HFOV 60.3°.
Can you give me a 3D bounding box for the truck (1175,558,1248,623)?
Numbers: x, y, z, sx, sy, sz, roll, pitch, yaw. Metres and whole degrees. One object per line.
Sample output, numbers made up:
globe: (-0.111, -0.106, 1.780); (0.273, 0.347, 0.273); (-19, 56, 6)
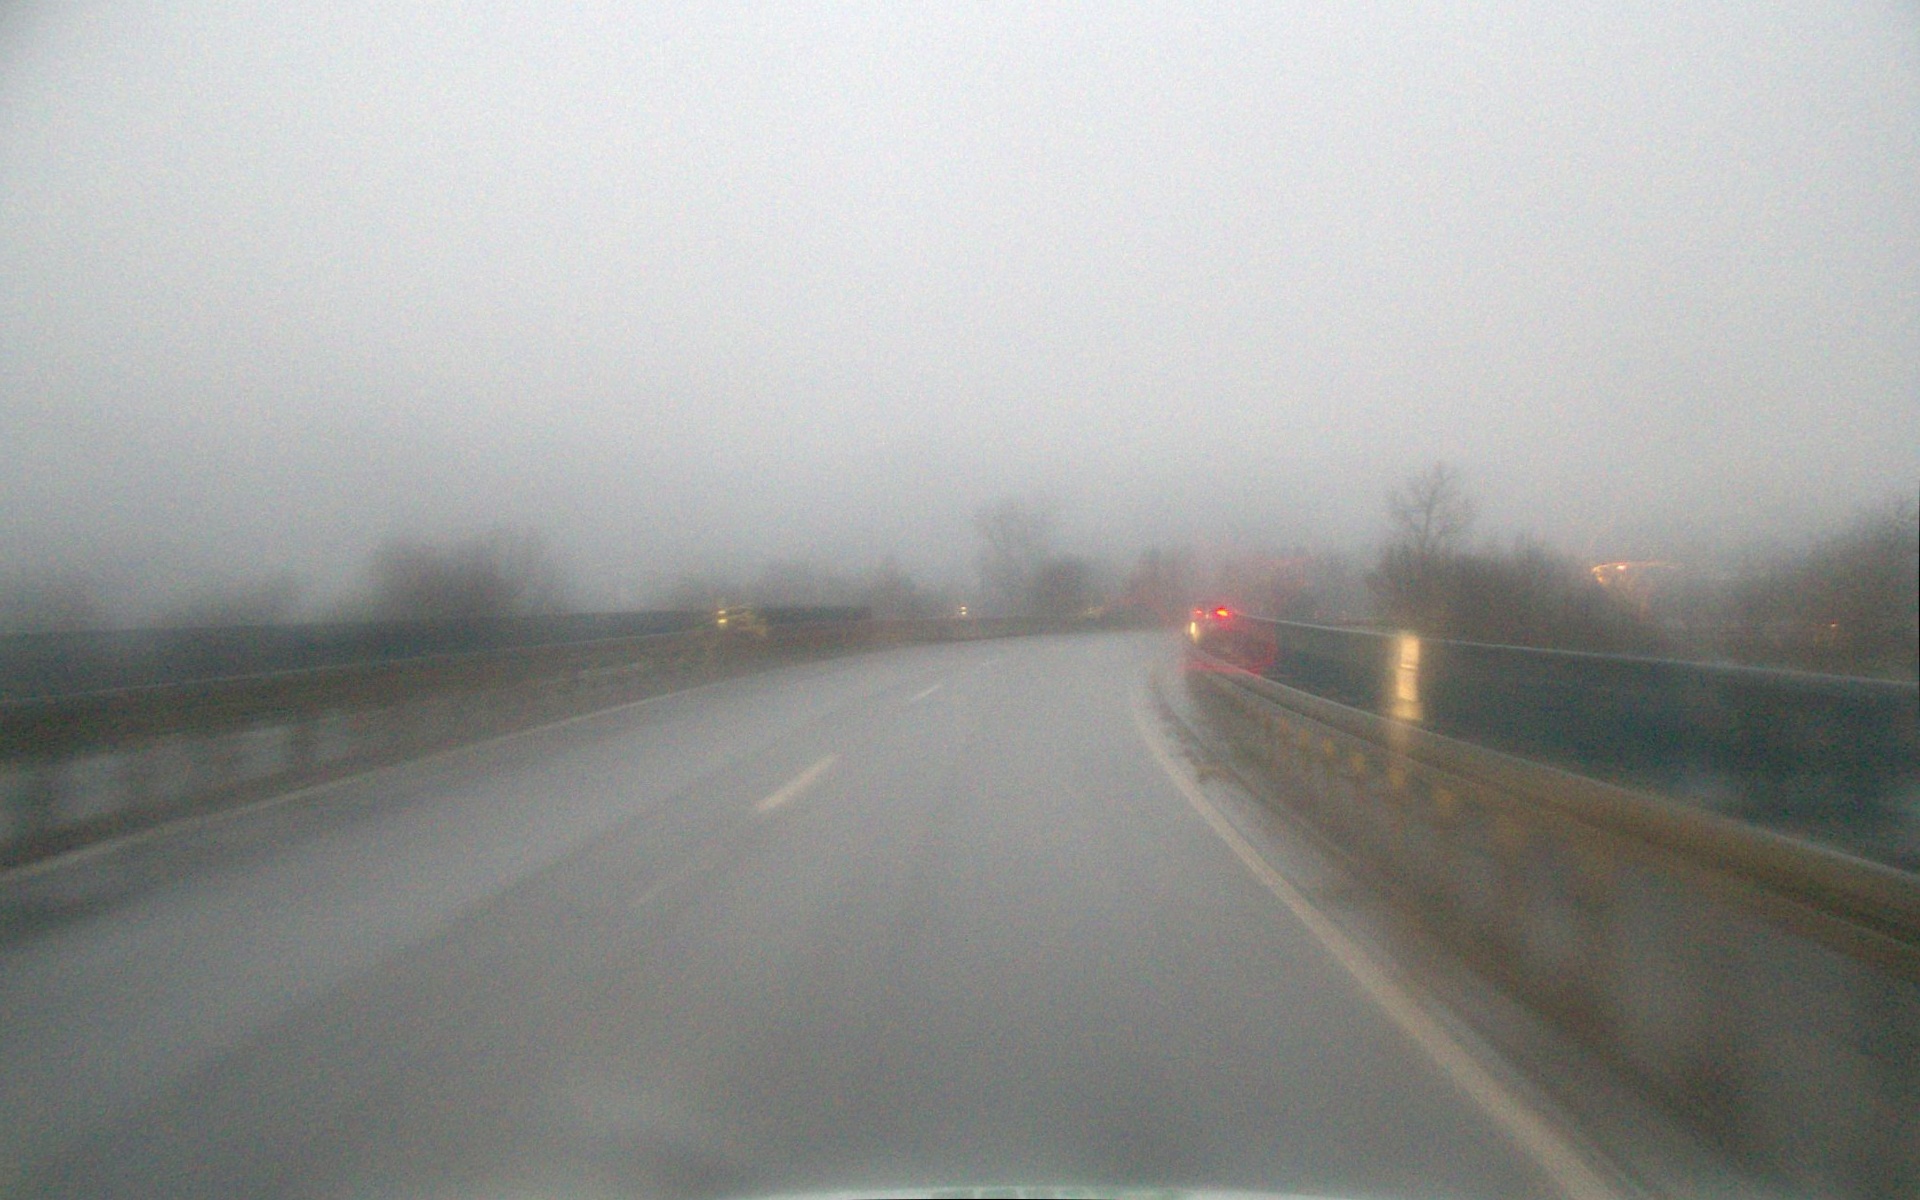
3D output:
truck: (11.961, -0.453, 78.327); (2.479, 2.919, 5.925); (1, 0, 18)
